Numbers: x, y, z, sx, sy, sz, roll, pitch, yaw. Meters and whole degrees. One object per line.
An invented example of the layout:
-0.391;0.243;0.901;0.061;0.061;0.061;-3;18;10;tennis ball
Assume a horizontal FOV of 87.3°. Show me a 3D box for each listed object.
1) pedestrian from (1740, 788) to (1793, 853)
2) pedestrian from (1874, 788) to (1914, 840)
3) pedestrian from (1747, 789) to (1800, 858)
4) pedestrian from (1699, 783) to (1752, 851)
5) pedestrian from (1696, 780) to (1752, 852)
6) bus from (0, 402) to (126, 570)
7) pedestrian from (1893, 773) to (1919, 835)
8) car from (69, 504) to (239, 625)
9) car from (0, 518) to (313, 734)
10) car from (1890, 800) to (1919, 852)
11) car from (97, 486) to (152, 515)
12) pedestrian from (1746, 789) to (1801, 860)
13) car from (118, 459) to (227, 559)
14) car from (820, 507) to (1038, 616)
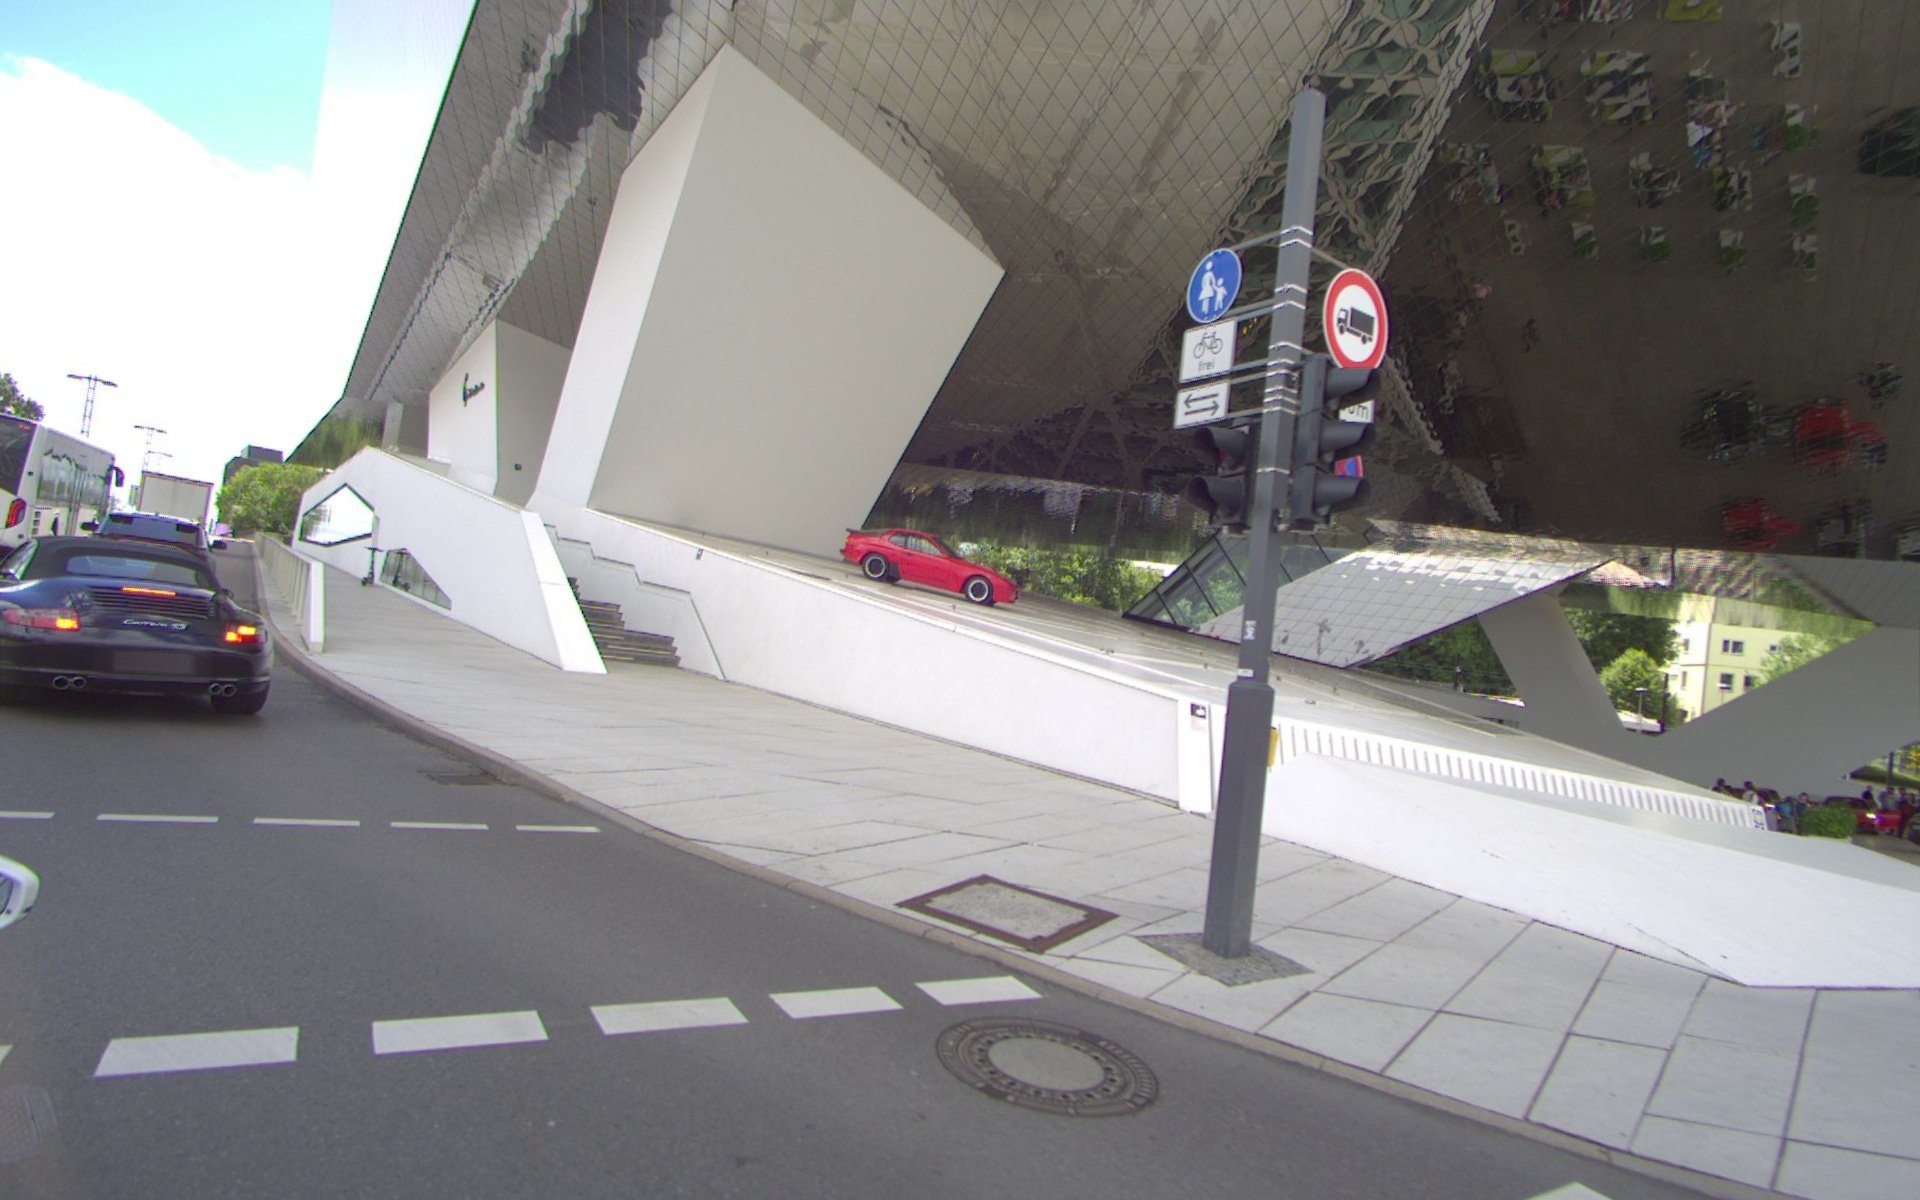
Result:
22.327;6.104;27.857;0.825;1.589;0.914;10;-5;-38;pedestrian
34.314;7.849;36.971;0.813;1.757;0.777;5;-4;28;pedestrian
21.159;5.800;26.154;0.826;1.589;0.912;11;-5;-44;pedestrian
19.809;5.604;26.034;0.826;1.589;0.912;11;-5;-44;pedestrian
19.051;5.378;25.078;0.826;1.589;0.912;11;-5;-44;pedestrian
-24.224;-2.976;25.558;3.056;3.400;12.108;10;-2;-34;bus
32.778;7.023;34.623;0.765;2.034;0.826;4;-4;36;pedestrian
-14.350;-0.673;18.105;1.985;1.655;3.959;11;-2;-37;car
-7.262;0.132;8.641;3.946;1.340;1.832;6;-2;43;car
26.632;6.039;25.054;4.592;1.233;2.004;6;-5;22;car
-68.141;-8.115;82.014;3.933;1.923;2.001;5;-5;30;car
20.456;5.632;25.298;0.826;1.589;0.912;11;-5;-44;pedestrian
-37.681;-4.160;48.471;3.320;3.540;9.259;10;-5;-35;car
-0.649;-0.849;22.906;4.429;1.411;2.000;14;2;11;car
